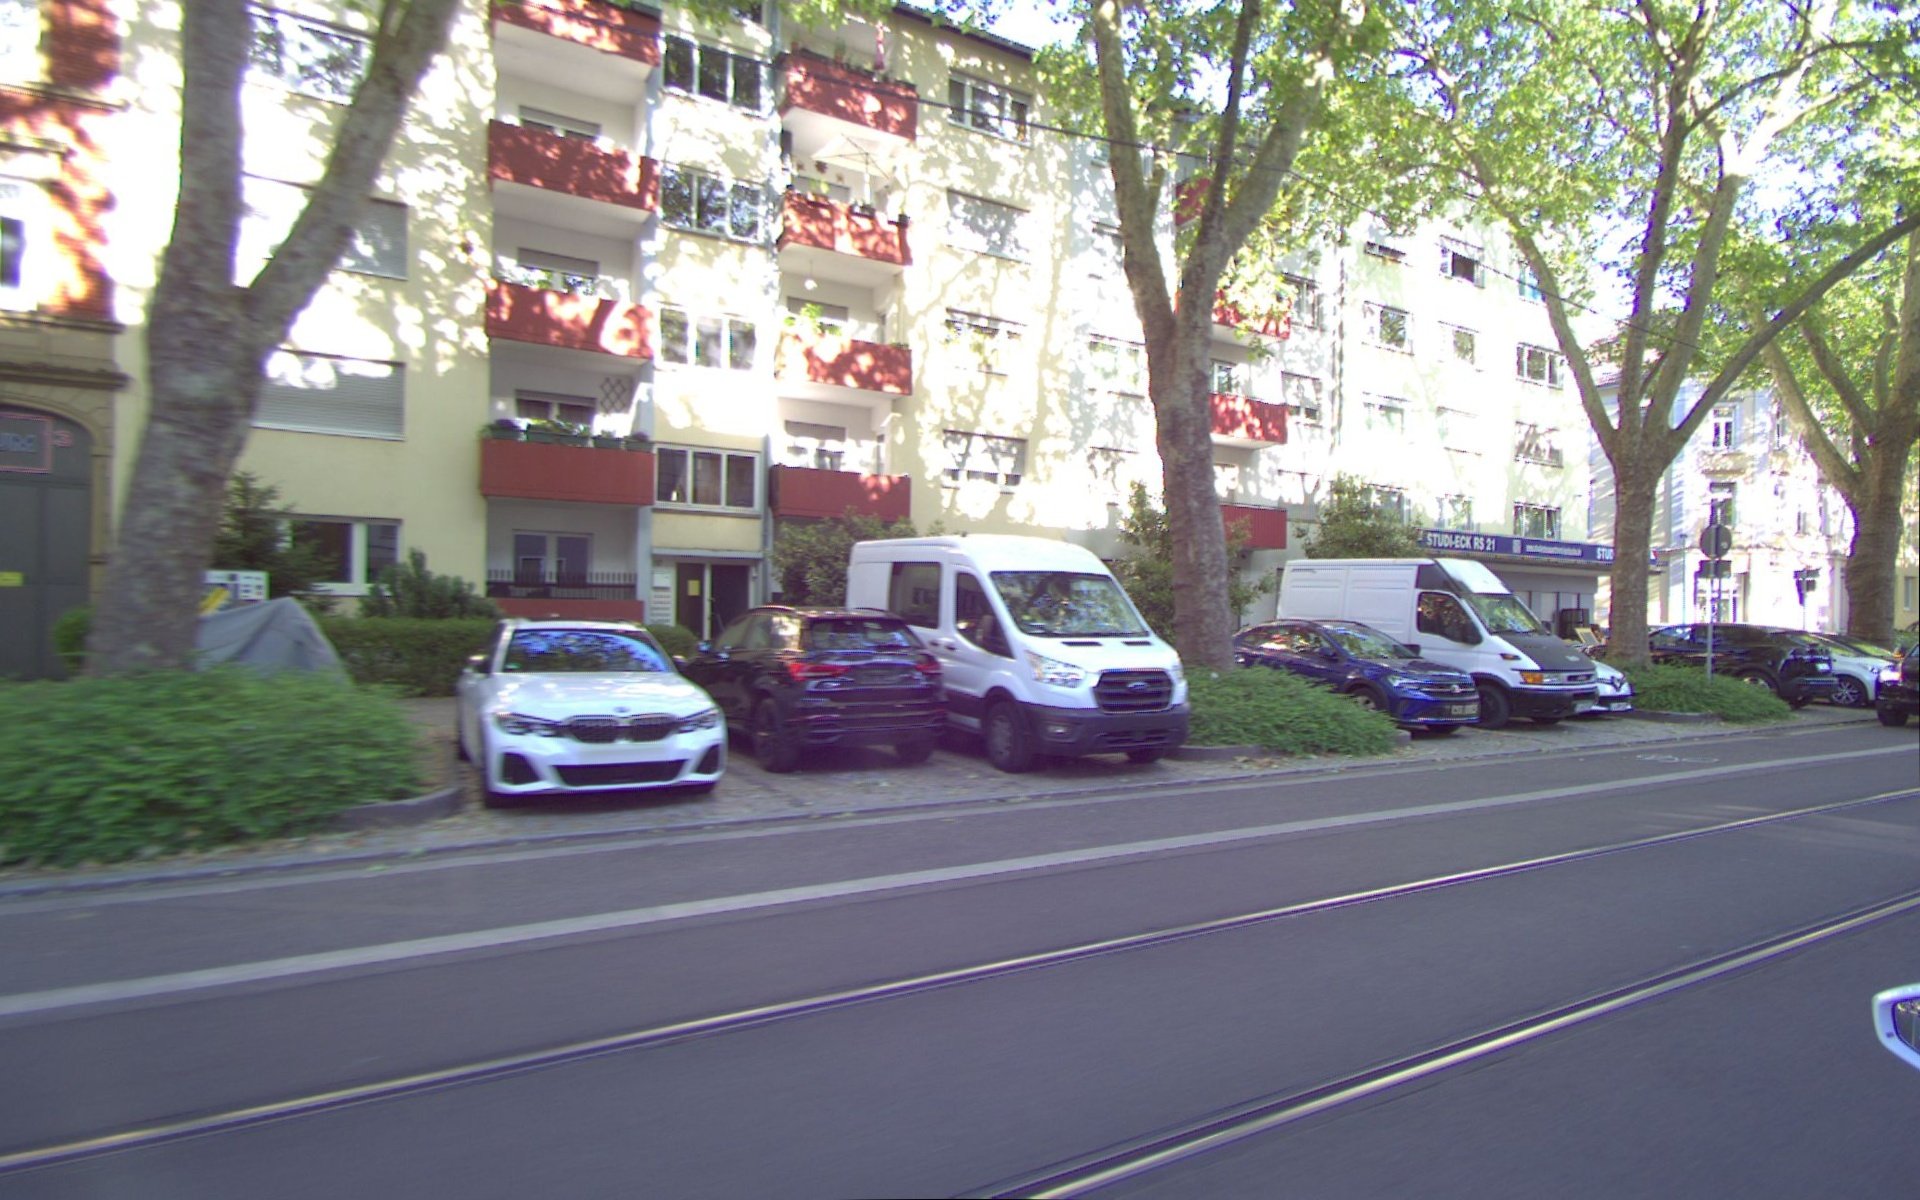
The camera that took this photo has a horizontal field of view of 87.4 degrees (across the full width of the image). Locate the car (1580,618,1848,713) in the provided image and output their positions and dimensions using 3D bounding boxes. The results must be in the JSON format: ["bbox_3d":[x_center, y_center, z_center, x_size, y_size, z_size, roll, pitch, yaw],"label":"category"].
[{"bbox_3d":[15.162,1.238,20.411,1.872,1.669,3.967,1,-1,-31],"label":"car"}]

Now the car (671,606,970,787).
[{"bbox_3d":[-1.775,0.885,11.242,1.850,1.559,4.351,1,0,-29],"label":"car"}]

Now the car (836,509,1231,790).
[{"bbox_3d":[0.506,0.469,11.809,2.032,2.510,5.337,1,-1,-29],"label":"car"}]

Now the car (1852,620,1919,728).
[{"bbox_3d":[17.373,1.223,17.106,4.432,1.722,1.984,1,-2,-30],"label":"car"}]

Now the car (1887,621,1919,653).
[{"bbox_3d":[47.617,1.832,49.507,3.952,1.537,1.674,1,0,-30],"label":"car"}]

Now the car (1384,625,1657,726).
[{"bbox_3d":[9.750,1.235,17.758,1.839,1.498,3.835,1,-1,-30],"label":"car"}]

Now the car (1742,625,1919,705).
[{"bbox_3d":[19.361,1.365,21.786,1.768,1.551,3.411,1,-1,-32],"label":"car"}]

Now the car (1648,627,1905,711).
[{"bbox_3d":[17.470,1.400,21.698,1.751,1.542,3.967,1,-1,-30],"label":"car"}]

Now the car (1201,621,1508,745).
[{"bbox_3d":[5.667,1.112,14.928,1.849,1.485,4.002,1,0,-29],"label":"car"}]

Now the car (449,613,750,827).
[{"bbox_3d":[-3.548,0.868,9.293,1.910,1.403,4.389,1,0,-29],"label":"car"}]

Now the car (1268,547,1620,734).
[{"bbox_3d":[7.732,0.591,16.602,2.060,2.601,4.915,1,-1,-32],"label":"car"}]
